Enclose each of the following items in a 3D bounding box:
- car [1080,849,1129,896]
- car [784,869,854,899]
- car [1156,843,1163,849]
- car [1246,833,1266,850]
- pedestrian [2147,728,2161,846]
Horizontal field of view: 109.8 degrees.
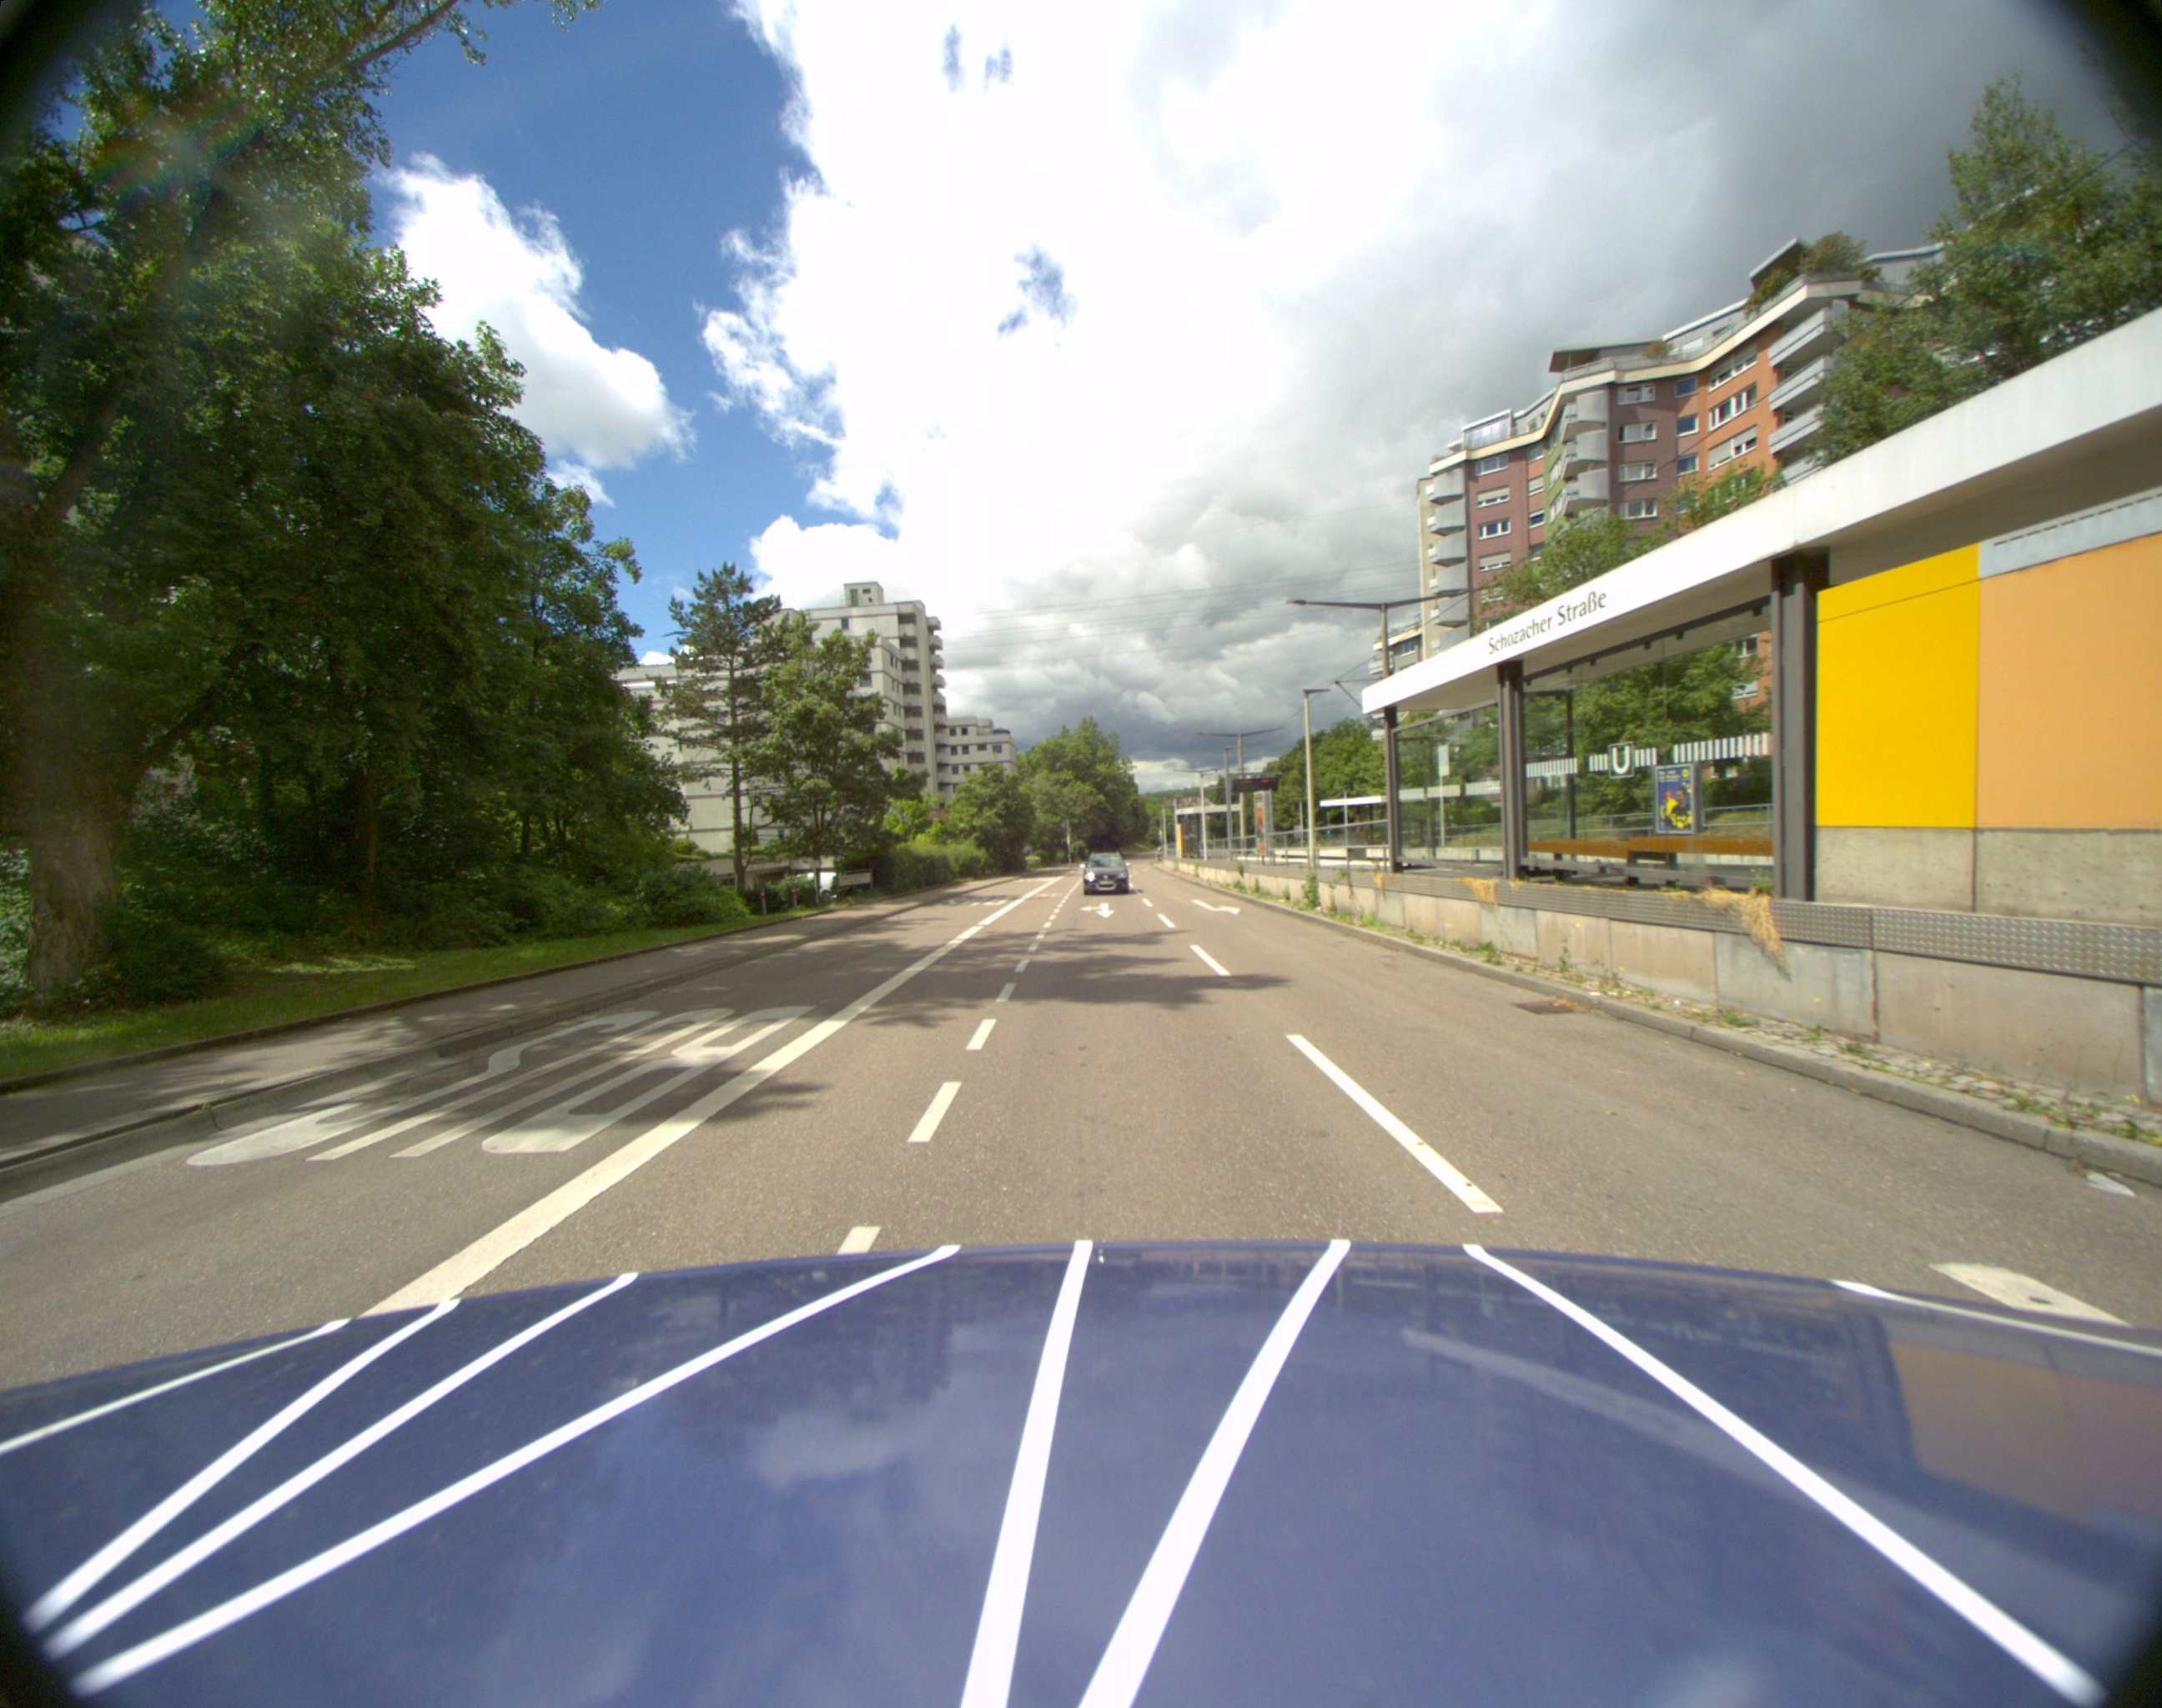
[{"bbox_3d":[0.924,0.640,28.412,1.641,1.521,4.000,-2,1,3],"label":"car"},{"bbox_3d":[-19.895,2.241,57.801,4.543,2.002,2.001,-2,1,7],"label":"car"},{"bbox_3d":[21.173,-2.179,205.108,1.821,1.377,4.065,-2,1,2],"label":"car"},{"bbox_3d":[22.148,-1.582,96.148,1.737,2.002,4.000,-2,1,2],"label":"car"},{"bbox_3d":[15.855,-0.978,11.011,0.354,1.703,0.426,-3,2,-41],"label":"pedestrian"}]
